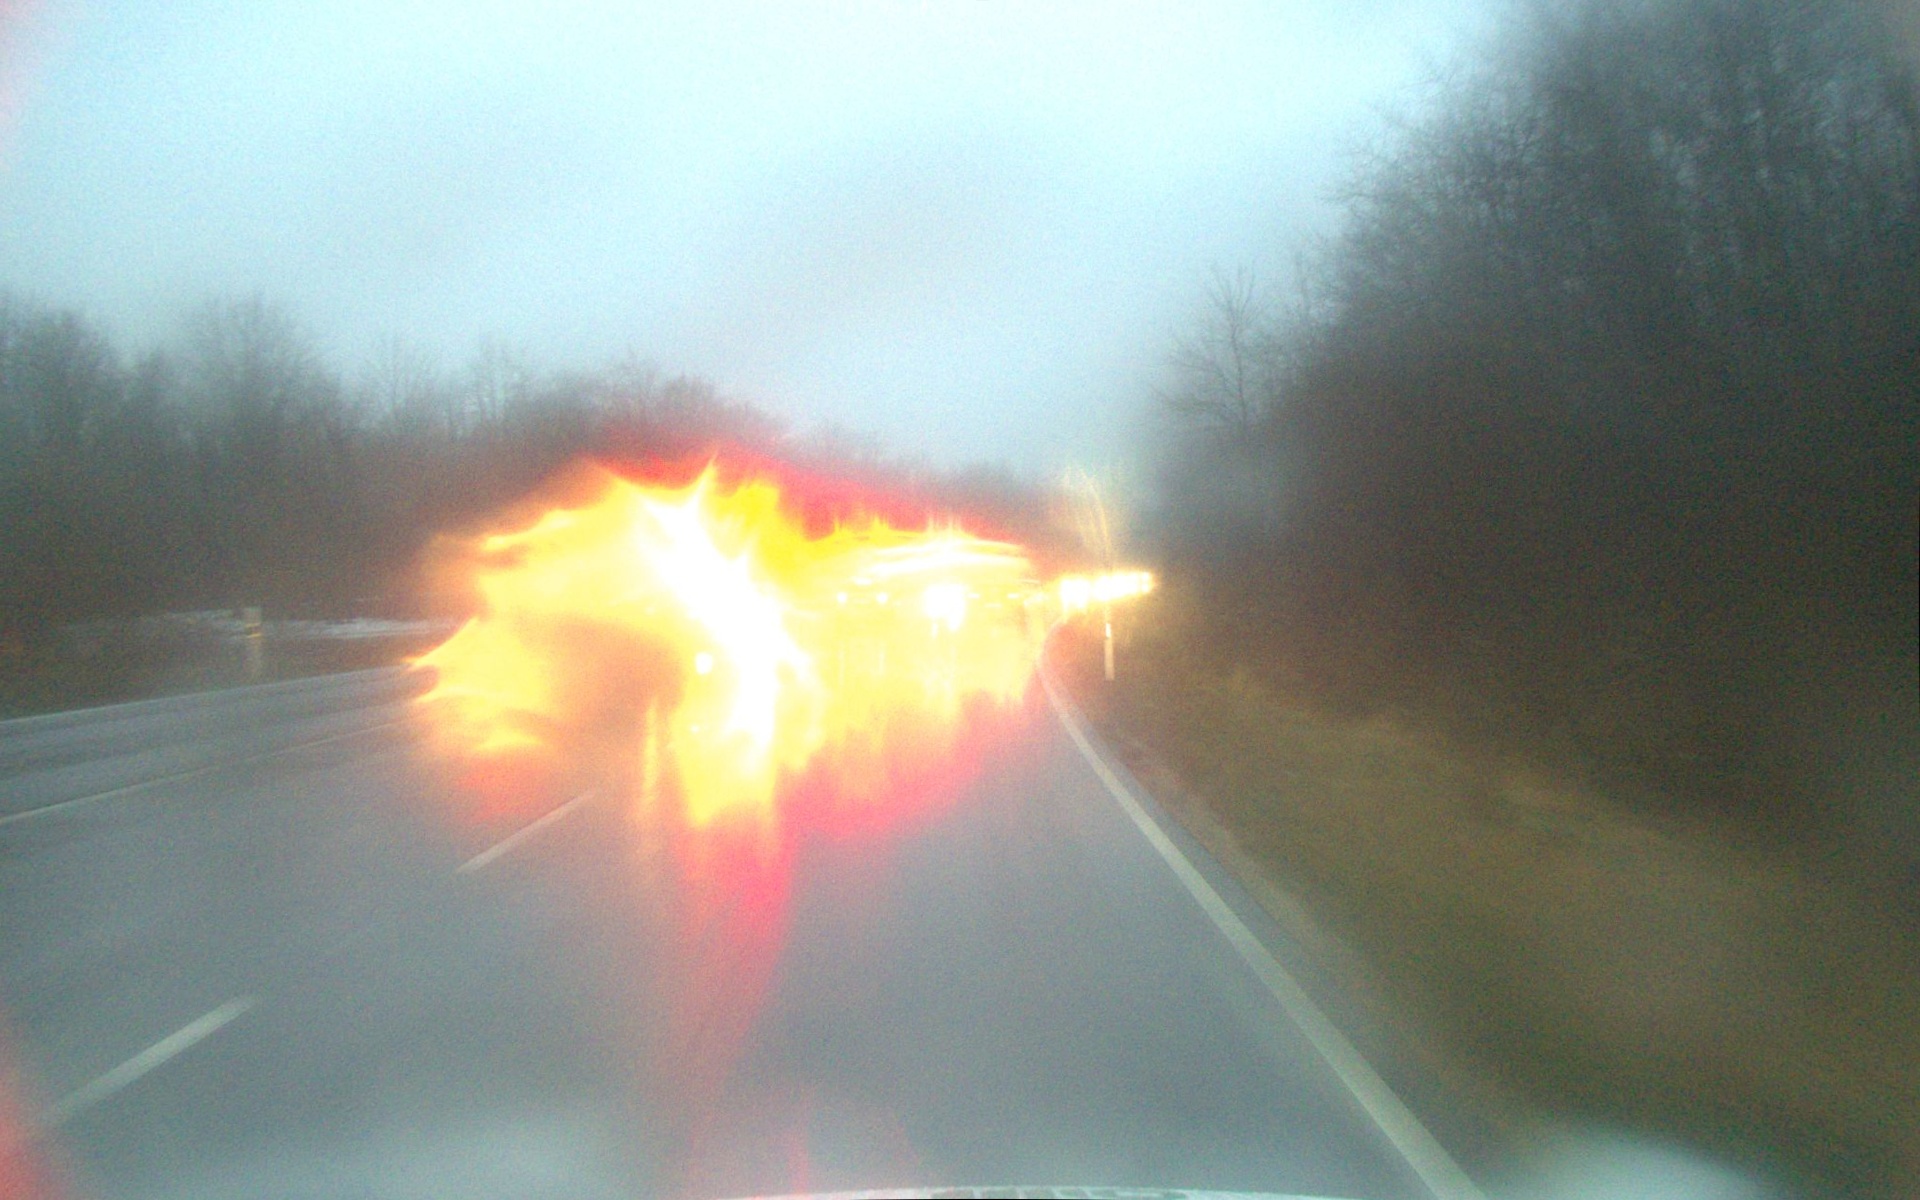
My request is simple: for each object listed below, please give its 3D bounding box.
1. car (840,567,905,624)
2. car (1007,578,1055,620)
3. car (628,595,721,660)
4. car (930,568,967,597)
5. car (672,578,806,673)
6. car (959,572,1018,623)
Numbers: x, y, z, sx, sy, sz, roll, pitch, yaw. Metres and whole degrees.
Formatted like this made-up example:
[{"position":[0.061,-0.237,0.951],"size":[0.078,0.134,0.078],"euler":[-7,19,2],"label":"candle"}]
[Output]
[{"position":[-2.650,-0.159,50.855],"size":[1.677,1.655,4.218],"euler":[1,1,1],"label":"car"},{"position":[3.102,-0.061,71.508],"size":[1.643,1.704,4.102],"euler":[-1,1,8],"label":"car"},{"position":[-7.278,0.663,42.554],"size":[1.612,1.583,4.381],"euler":[0,0,0],"label":"car"},{"position":[-0.640,-1.052,96.901],"size":[1.785,1.644,4.576],"euler":[1,1,4],"label":"car"},{"position":[-3.984,0.421,30.492],"size":[1.964,1.583,4.515],"euler":[1,0,-2],"label":"car"},{"position":[0.867,-0.101,48.321],"size":[1.644,1.414,4.099],"euler":[-1,1,2],"label":"car"}]
